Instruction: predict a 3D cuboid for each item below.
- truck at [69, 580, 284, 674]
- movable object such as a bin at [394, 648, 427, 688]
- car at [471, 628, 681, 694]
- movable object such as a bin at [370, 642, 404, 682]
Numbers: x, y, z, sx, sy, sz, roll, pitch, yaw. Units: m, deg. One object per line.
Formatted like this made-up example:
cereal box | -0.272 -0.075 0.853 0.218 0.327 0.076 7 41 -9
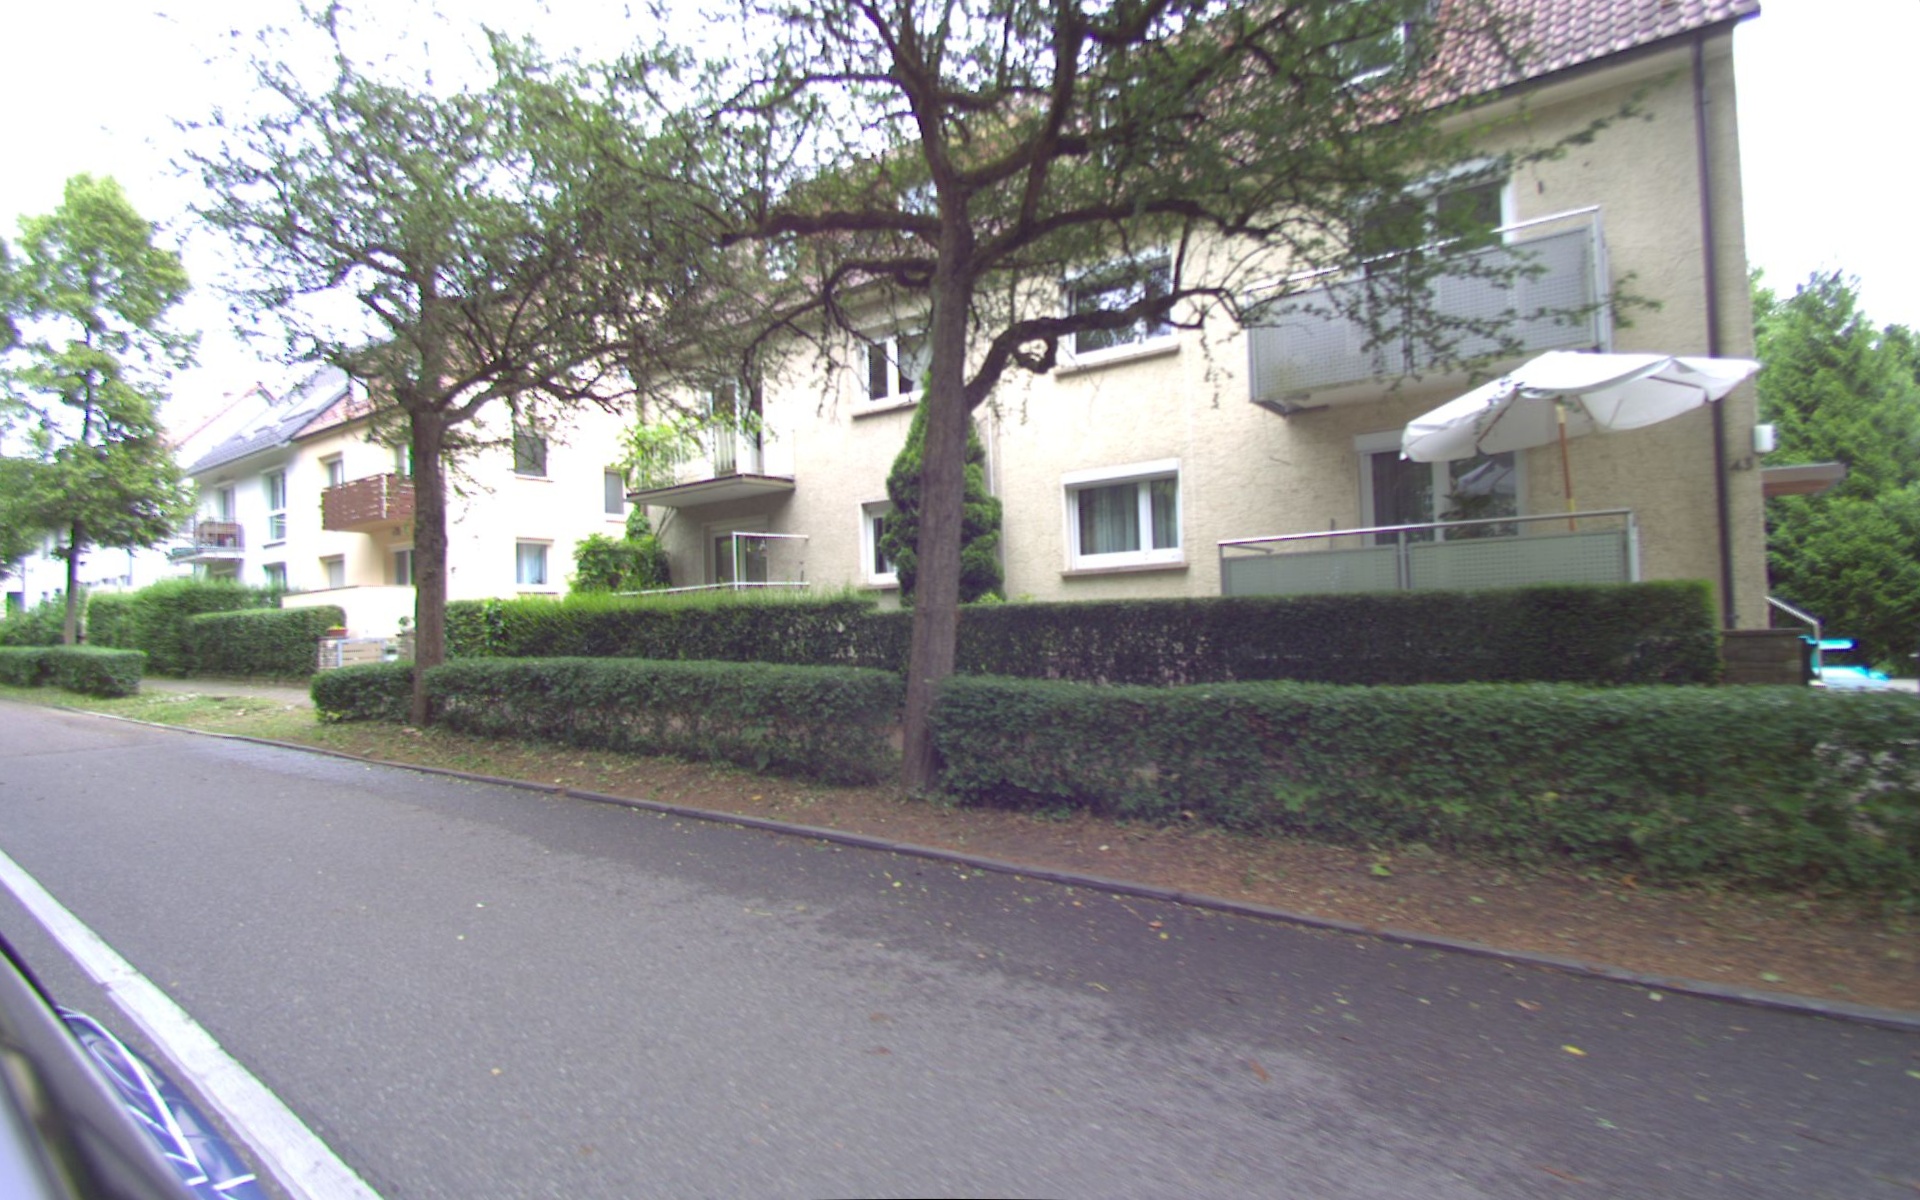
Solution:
truck | -28.431 0.957 36.946 2.512 3.155 5.746 -2 -1 35
movable object such as a bin | -12.991 1.598 23.916 0.569 0.918 0.484 -2 -3 35
car | -8.116 1.248 21.676 1.695 1.208 3.951 -2 -1 36
movable object such as a bin | -13.304 1.432 23.506 0.569 0.918 0.484 -2 -3 35
